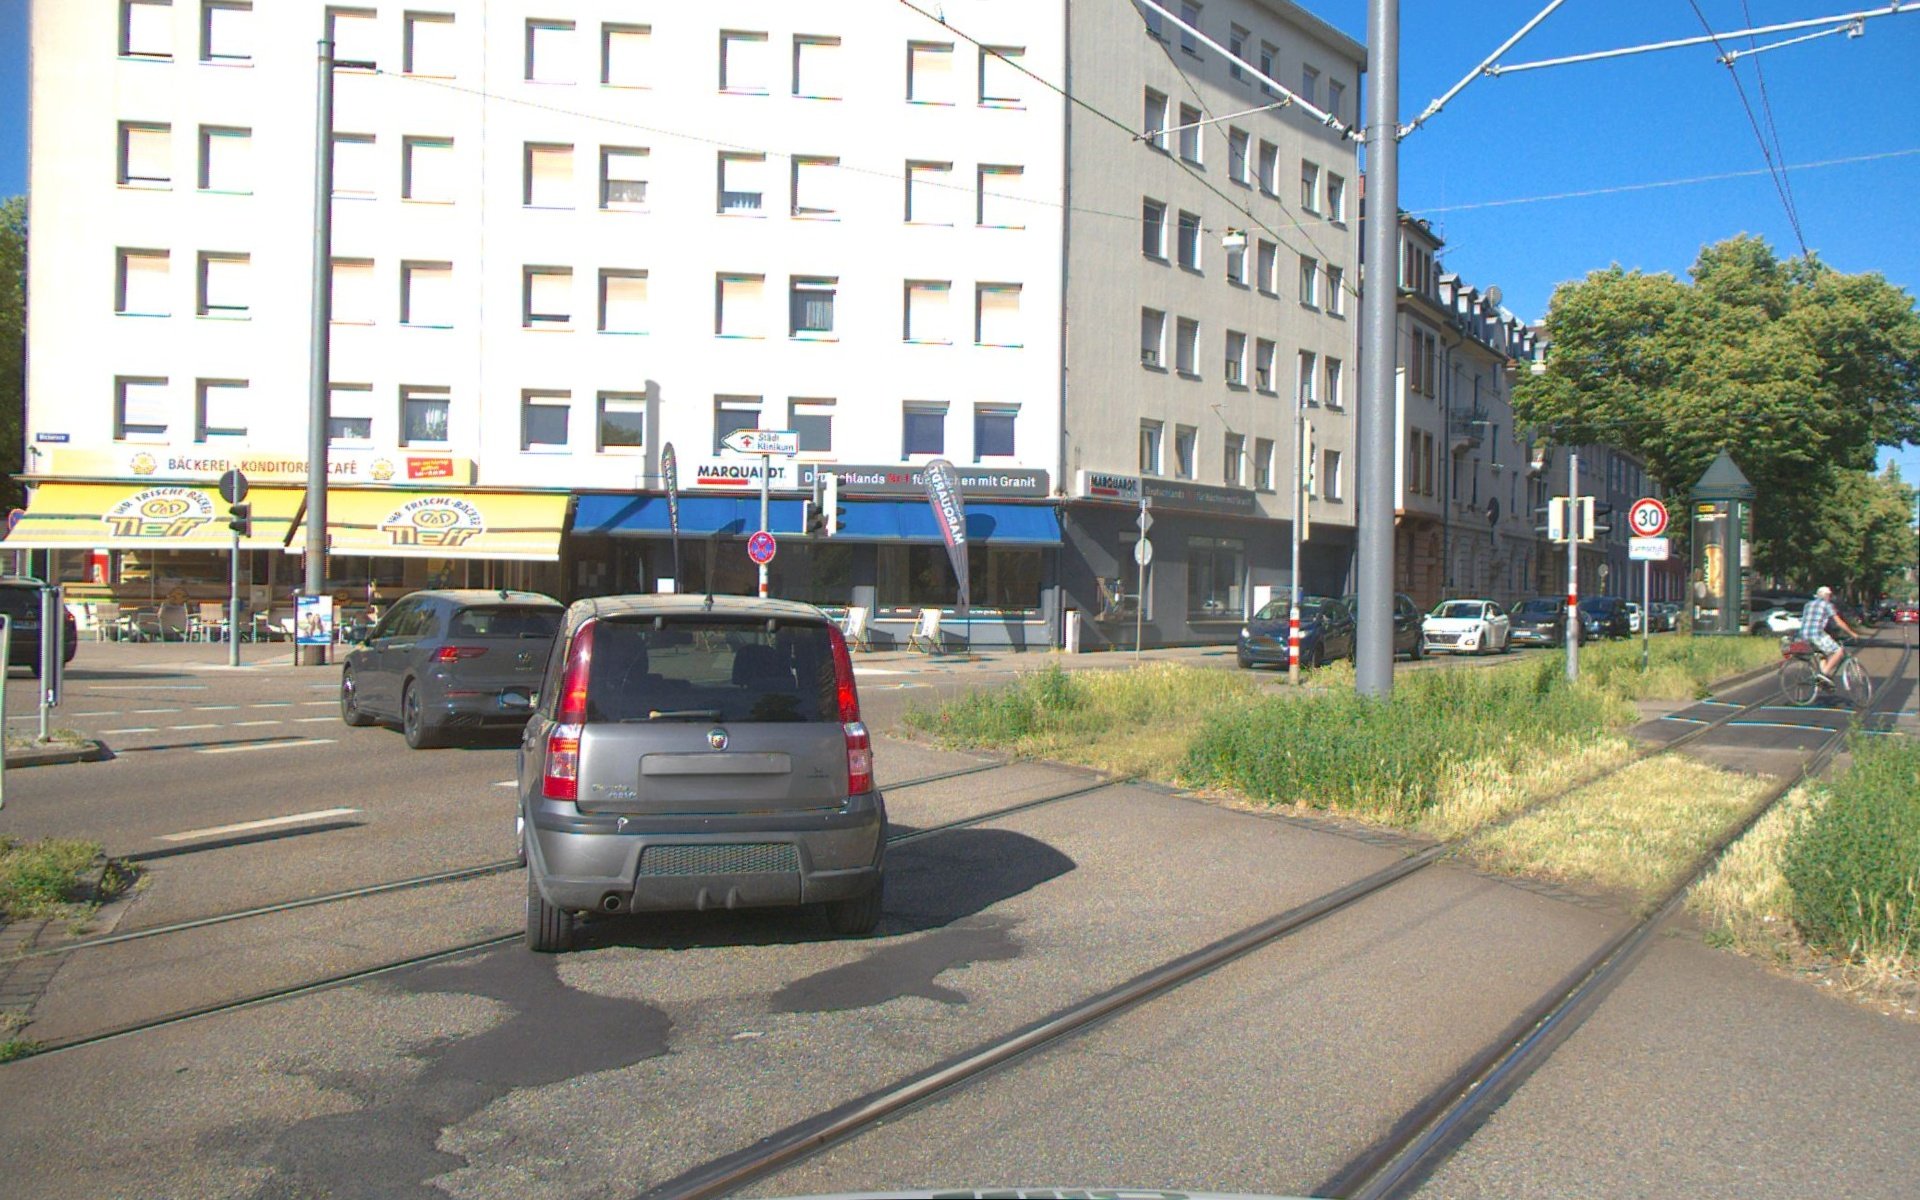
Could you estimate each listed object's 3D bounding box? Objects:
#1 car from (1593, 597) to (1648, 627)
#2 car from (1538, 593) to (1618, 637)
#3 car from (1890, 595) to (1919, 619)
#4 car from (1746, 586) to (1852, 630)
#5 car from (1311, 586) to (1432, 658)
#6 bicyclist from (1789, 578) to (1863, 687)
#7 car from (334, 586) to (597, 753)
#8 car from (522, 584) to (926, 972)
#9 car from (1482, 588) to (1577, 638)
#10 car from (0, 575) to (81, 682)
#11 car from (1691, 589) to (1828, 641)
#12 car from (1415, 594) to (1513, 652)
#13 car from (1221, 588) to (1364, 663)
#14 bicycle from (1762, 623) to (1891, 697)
[{"bbox_3d":[32.415,0.556,81.128,1.956,1.419,3.993,1,0,29],"label":"car"},{"bbox_3d":[22.479,0.520,60.084,1.958,1.513,3.990,1,0,32],"label":"car"},{"bbox_3d":[75.616,0.572,132.050,1.959,1.831,3.986,1,0,35],"label":"car"},{"bbox_3d":[36.119,0.318,71.231,3.753,1.817,1.829,1,0,43],"label":"car"},{"bbox_3d":[9.772,0.495,39.126,1.757,1.593,3.758,1,0,31],"label":"car"},{"bbox_3d":[12.835,0.472,24.507,0.808,1.586,0.559,0,0,-18],"label":"bicyclist"},{"bbox_3d":[-5.031,0.600,16.525,1.606,1.454,3.647,0,0,-32],"label":"car"},{"bbox_3d":[-1.336,0.697,8.340,1.632,1.536,3.239,1,0,-14],"label":"car"},{"bbox_3d":[17.881,0.388,51.846,1.958,1.498,3.990,1,0,32],"label":"car"},{"bbox_3d":[-14.943,0.375,25.001,4.221,1.512,1.753,1,0,44],"label":"car"},{"bbox_3d":[26.173,0.455,54.300,1.874,1.621,3.982,0,0,-17],"label":"car"},{"bbox_3d":[13.803,0.596,45.184,1.757,1.508,3.524,1,0,31],"label":"car"},{"bbox_3d":[6.884,0.487,34.035,1.757,1.420,3.717,1,0,31],"label":"car"},{"bbox_3d":[12.845,0.880,24.518,1.822,1.050,0.586,0,0,-18],"label":"bicycle"}]
